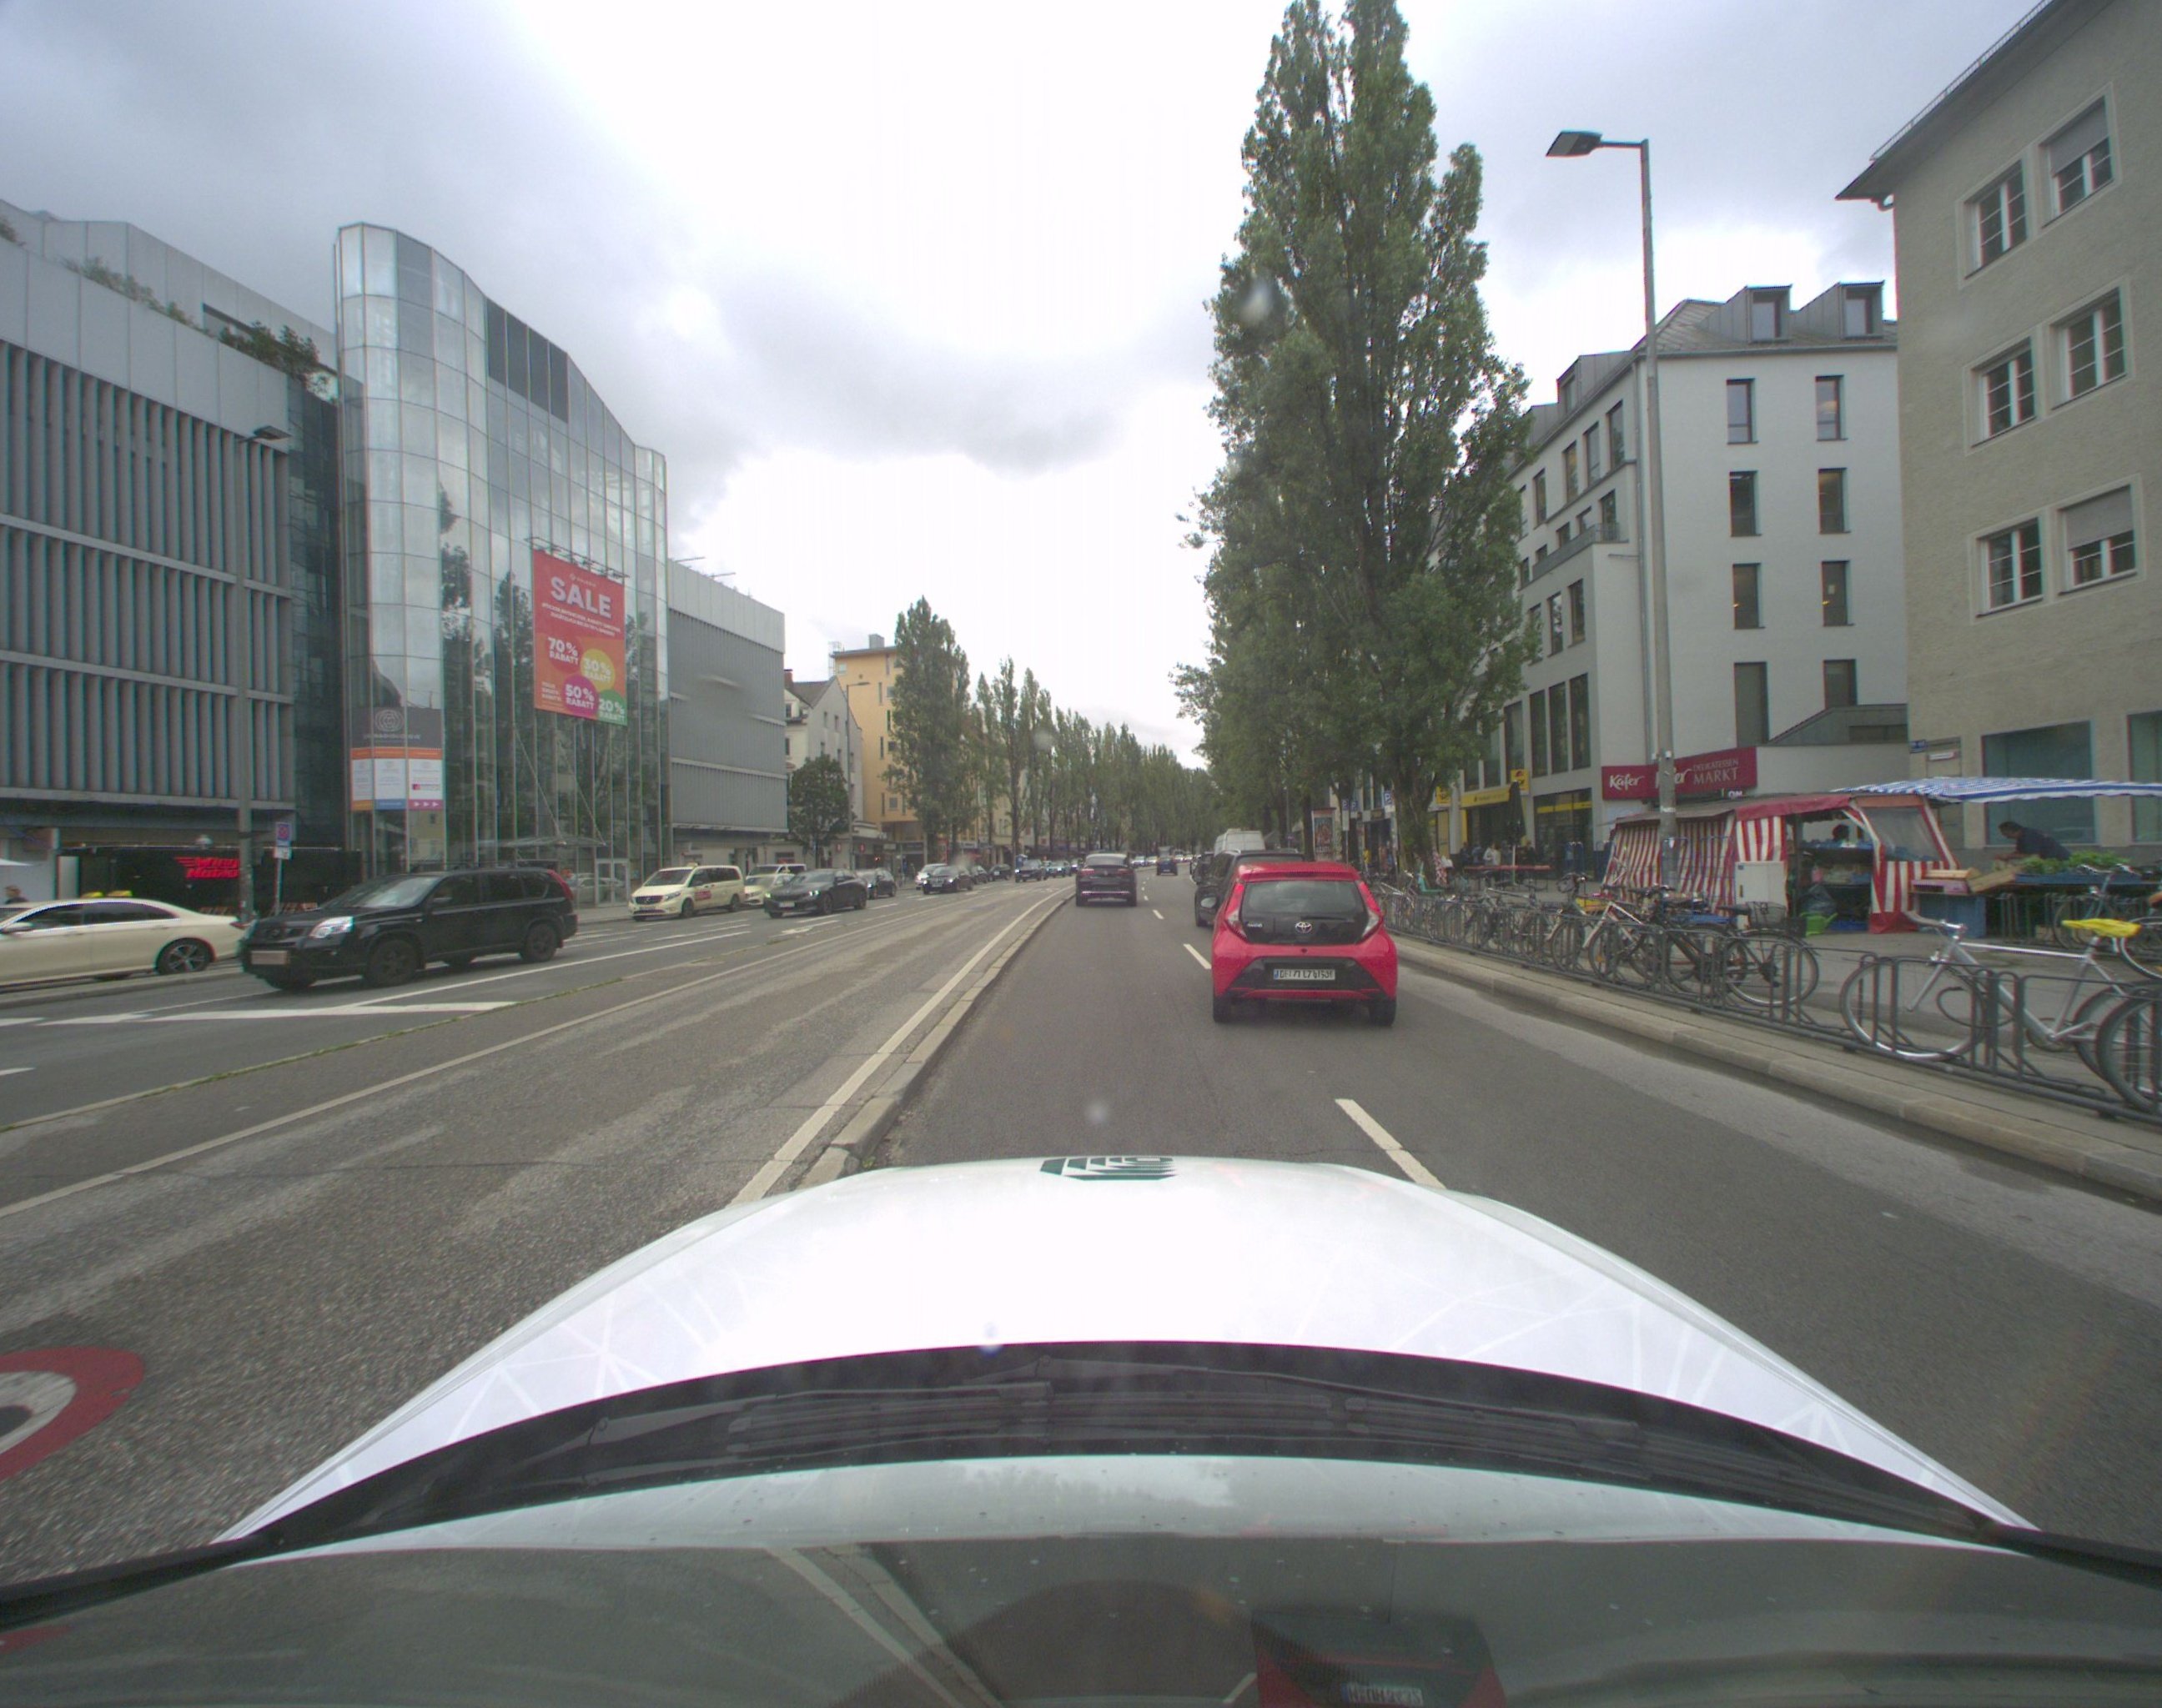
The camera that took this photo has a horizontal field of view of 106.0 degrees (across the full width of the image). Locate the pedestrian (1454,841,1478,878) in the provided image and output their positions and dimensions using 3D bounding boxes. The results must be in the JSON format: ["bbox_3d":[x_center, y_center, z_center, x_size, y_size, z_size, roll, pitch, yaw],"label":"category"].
[{"bbox_3d":[17.619,0.238,37.260,0.687,1.649,0.799,-2,0,4],"label":"pedestrian"}]

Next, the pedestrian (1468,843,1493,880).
[{"bbox_3d":[17.510,0.331,35.693,0.688,1.585,0.773,-2,0,1],"label":"pedestrian"}]

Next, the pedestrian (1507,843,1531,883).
[{"bbox_3d":[16.615,0.349,30.874,0.641,1.476,0.764,-1,-1,40],"label":"pedestrian"}]

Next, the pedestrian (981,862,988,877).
[{"bbox_3d":[-11.330,1.831,95.416,0.535,1.747,0.758,-1,0,14],"label":"pedestrian"}]

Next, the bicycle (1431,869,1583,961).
[{"bbox_3d":[5.900,0.809,11.347,1.779,1.105,0.550,3,1,40],"label":"bicycle"}]

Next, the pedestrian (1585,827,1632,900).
[{"bbox_3d":[13.096,0.235,20.228,0.789,1.796,0.573,-1,-1,7],"label":"pedestrian"}]

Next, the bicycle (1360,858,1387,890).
[{"bbox_3d":[11.137,0.735,31.076,0.475,1.160,1.634,-1,0,2],"label":"bicycle"}]

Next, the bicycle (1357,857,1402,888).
[{"bbox_3d":[11.810,0.739,32.247,1.616,1.160,0.708,-1,0,14],"label":"bicycle"}]

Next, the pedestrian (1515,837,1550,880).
[{"bbox_3d":[17.754,0.187,32.049,0.797,1.637,1.024,-2,0,1],"label":"pedestrian"}]

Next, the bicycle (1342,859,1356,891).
[{"bbox_3d":[10.151,0.775,30.879,0.473,1.160,1.833,-1,0,18],"label":"bicycle"}]

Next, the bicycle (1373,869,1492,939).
[{"bbox_3d":[6.074,0.832,14.127,1.779,1.054,0.550,3,1,39],"label":"bicycle"}]

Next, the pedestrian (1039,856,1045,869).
[{"bbox_3d":[-5.581,1.223,117.042,0.633,1.862,0.650,-2,-1,14],"label":"pedestrian"}]

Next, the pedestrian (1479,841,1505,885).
[{"bbox_3d":[15.060,0.335,29.875,0.638,1.583,0.636,-3,-1,9],"label":"pedestrian"}]

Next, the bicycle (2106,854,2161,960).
[{"bbox_3d":[12.265,0.537,8.838,1.622,1.103,0.410,-3,-1,3],"label":"bicycle"}]

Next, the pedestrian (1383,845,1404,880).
[{"bbox_3d":[16.000,0.435,41.688,0.712,1.724,0.744,-3,-1,39],"label":"pedestrian"}]

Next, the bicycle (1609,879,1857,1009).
[{"bbox_3d":[6.113,0.798,7.742,1.779,1.010,0.388,3,1,40],"label":"bicycle"}]

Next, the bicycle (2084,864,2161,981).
[{"bbox_3d":[10.736,0.633,7.772,1.458,1.078,0.412,-3,-1,16],"label":"bicycle"}]

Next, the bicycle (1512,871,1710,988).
[{"bbox_3d":[5.894,0.793,9.126,1.779,1.105,0.550,3,1,40],"label":"bicycle"}]

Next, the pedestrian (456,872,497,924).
[{"bbox_3d":[-22.134,1.600,29.834,0.783,1.805,0.821,-2,0,13],"label":"pedestrian"}]

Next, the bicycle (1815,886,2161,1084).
[{"bbox_3d":[5.757,0.761,5.026,1.779,1.010,0.388,3,1,40],"label":"bicycle"}]

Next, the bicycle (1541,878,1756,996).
[{"bbox_3d":[5.855,0.811,8.495,1.779,1.010,0.388,3,1,44],"label":"bicycle"}]

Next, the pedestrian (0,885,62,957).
[{"bbox_3d":[-24.024,1.512,18.455,0.726,1.546,0.902,-2,0,14],"label":"pedestrian"}]

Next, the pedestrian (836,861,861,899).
[{"bbox_3d":[-11.592,1.294,40.617,0.778,1.867,0.852,-2,-1,31],"label":"pedestrian"}]

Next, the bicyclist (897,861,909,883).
[{"bbox_3d":[-13.233,1.331,60.511,0.498,1.592,0.838,-2,-1,14],"label":"bicyclist"}]

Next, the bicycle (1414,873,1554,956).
[{"bbox_3d":[5.891,0.851,11.972,1.779,1.054,0.369,3,1,39],"label":"bicycle"}]

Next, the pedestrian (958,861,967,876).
[{"bbox_3d":[-13.134,1.618,90.134,0.629,1.561,0.819,-2,0,16],"label":"pedestrian"}]

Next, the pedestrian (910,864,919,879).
[{"bbox_3d":[-16.111,1.697,78.856,0.630,1.435,0.778,-2,0,1],"label":"pedestrian"}]

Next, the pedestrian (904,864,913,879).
[{"bbox_3d":[-16.727,1.702,78.898,0.630,1.435,0.778,-2,0,1],"label":"pedestrian"}]

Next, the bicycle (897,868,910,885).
[{"bbox_3d":[-13.183,1.655,60.535,0.365,1.201,1.158,-2,0,15],"label":"bicycle"}]

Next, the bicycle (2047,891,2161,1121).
[{"bbox_3d":[5.725,0.756,3.614,1.779,1.059,0.400,3,1,40],"label":"bicycle"}]

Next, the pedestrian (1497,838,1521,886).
[{"bbox_3d":[15.717,0.285,29.922,0.576,1.701,0.598,-3,-1,9],"label":"pedestrian"}]

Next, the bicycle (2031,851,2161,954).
[{"bbox_3d":[12.119,0.546,9.398,1.620,1.103,0.411,-3,-1,6],"label":"bicycle"}]

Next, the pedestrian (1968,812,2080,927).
[{"bbox_3d":[14.283,0.231,12.360,0.791,1.673,0.729,-2,0,1],"label":"pedestrian"}]
